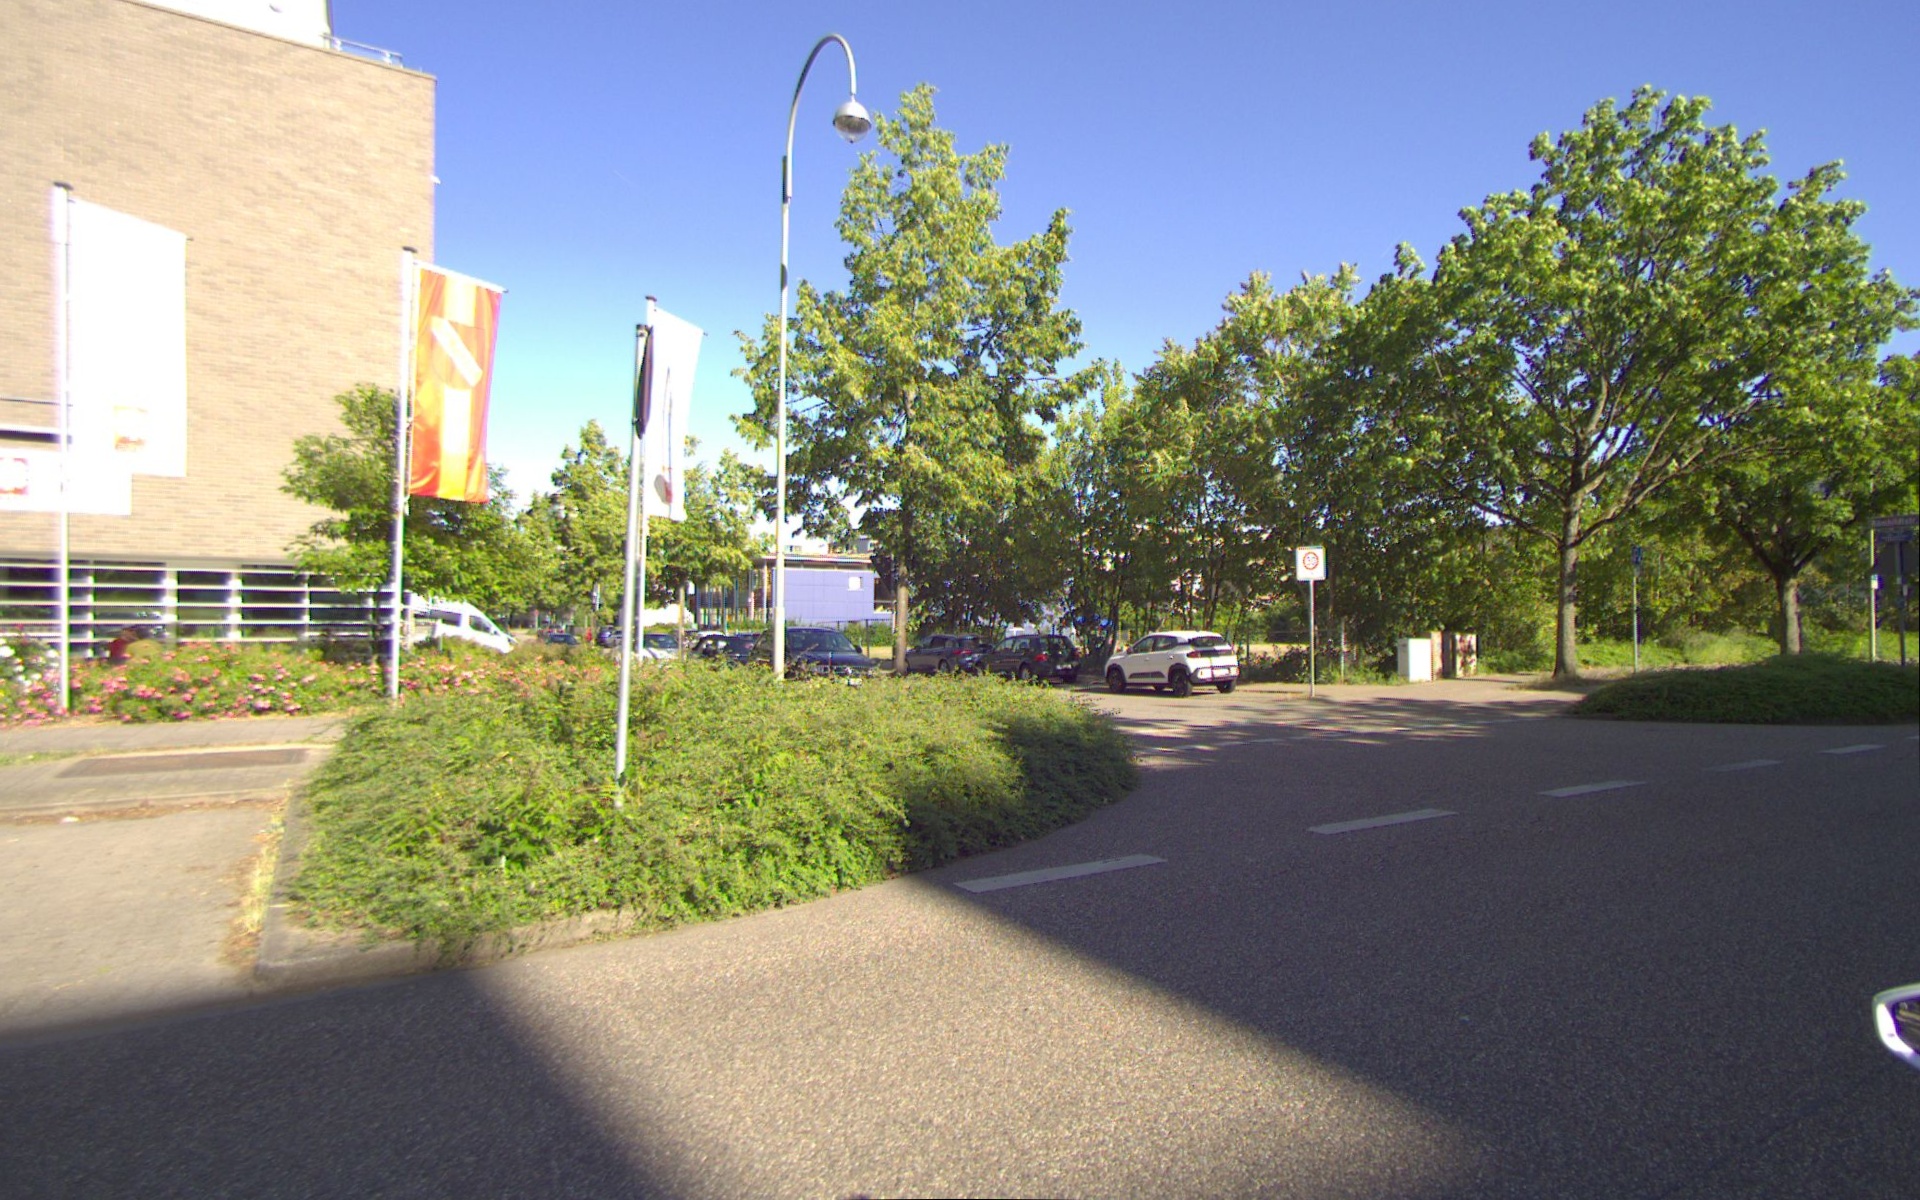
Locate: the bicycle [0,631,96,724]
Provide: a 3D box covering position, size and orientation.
[{"bbox_3d":[-11.430,0.896,11.578,2.168,1.061,0.435,1,0,-31],"label":"bicycle"}]

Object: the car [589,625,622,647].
[{"bbox_3d":[-30.241,3.059,85.587,1.806,1.741,4.085,-2,0,-31],"label":"car"}]

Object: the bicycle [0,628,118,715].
[{"bbox_3d":[-11.909,0.878,12.467,2.168,1.061,0.435,1,0,-31],"label":"bicycle"}]

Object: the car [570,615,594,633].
[{"bbox_3d":[-44.698,2.822,118.699,2.007,2.040,3.968,1,-1,-30],"label":"car"}]

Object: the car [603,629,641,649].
[{"bbox_3d":[-26.830,3.102,79.697,1.816,1.441,4.195,-2,0,-34],"label":"car"}]

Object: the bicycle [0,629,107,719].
[{"bbox_3d":[-11.679,0.886,12.032,2.168,1.061,0.435,1,0,-31],"label":"bicycle"}]

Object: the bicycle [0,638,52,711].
[{"bbox_3d":[-14.786,1.096,14.696,2.168,1.061,0.435,1,0,-31],"label":"bicycle"}]

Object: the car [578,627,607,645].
[{"bbox_3d":[-33.157,3.217,90.526,1.819,1.536,3.849,1,-2,-31],"label":"car"}]

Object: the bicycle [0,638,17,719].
[{"bbox_3d":[-13.725,1.029,12.994,2.168,1.061,0.435,1,0,-31],"label":"bicycle"}]

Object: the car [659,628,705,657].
[{"bbox_3d":[-17.654,2.650,63.589,1.711,1.674,4.290,-1,0,-31],"label":"car"}]

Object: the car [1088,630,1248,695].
[{"bbox_3d":[4.989,1.510,24.664,1.605,1.469,4.061,1,-3,-29],"label":"car"}]

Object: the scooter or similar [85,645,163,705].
[{"bbox_3d":[-14.118,1.257,16.982,0.858,0.967,0.800,1,-2,-30],"label":"scooter or similar"}]

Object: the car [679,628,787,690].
[{"bbox_3d":[-6.073,1.494,26.630,1.567,1.524,3.755,1,-2,-33],"label":"car"}]

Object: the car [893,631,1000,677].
[{"bbox_3d":[-0.540,1.794,34.307,1.663,1.456,4.402,1,-2,-32],"label":"car"}]

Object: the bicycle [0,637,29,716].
[{"bbox_3d":[-13.990,1.041,13.457,2.168,1.061,0.435,1,0,-31],"label":"bicycle"}]

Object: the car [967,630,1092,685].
[{"bbox_3d":[2.013,1.673,30.152,1.809,1.491,4.036,1,-2,-30],"label":"car"}]

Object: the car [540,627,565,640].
[{"bbox_3d":[-45.039,3.689,111.018,1.977,1.505,3.968,1,-2,-30],"label":"car"}]

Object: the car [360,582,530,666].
[{"bbox_3d":[-19.853,0.983,38.881,5.413,2.412,1.904,11,-7,-34],"label":"car"}]

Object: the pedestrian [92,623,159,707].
[{"bbox_3d":[-14.098,1.088,16.989,0.736,1.379,0.665,1,-2,-30],"label":"pedestrian"}]

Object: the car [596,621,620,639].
[{"bbox_3d":[-42.139,3.565,120.280,1.977,2.040,3.968,1,-1,-30],"label":"car"}]

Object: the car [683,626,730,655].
[{"bbox_3d":[-14.991,2.358,59.345,1.666,1.562,3.817,1,-1,-30],"label":"car"}]

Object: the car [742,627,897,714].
[{"bbox_3d":[-3.089,1.443,21.335,1.870,1.641,4.307,1,-3,-29],"label":"car"}]

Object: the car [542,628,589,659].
[{"bbox_3d":[-20.080,2.184,51.091,1.598,1.484,3.841,1,-2,-32],"label":"car"}]
